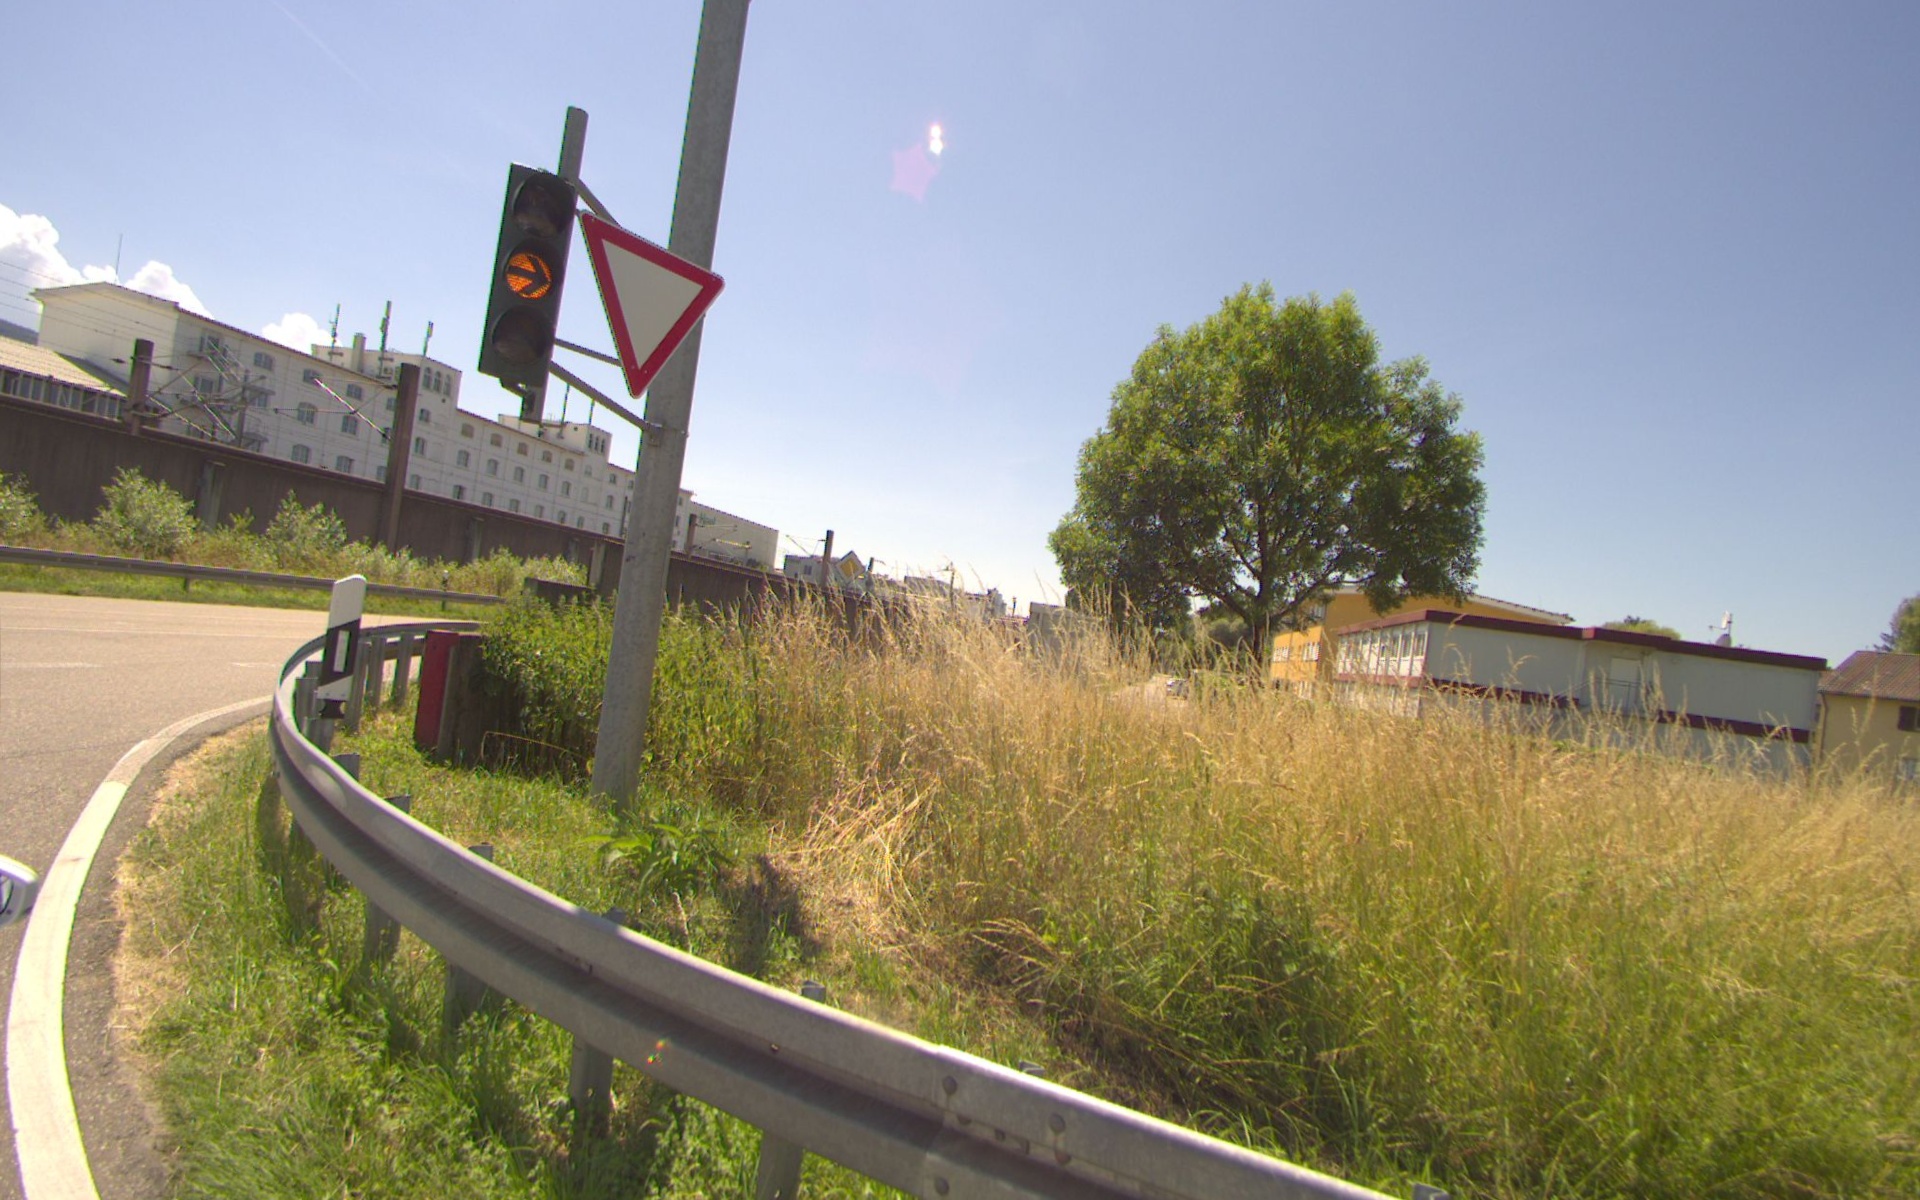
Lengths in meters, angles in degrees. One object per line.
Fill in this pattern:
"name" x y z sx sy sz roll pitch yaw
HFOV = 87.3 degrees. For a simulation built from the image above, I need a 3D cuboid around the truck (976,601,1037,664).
"truck" 3.848 2.738 79.496 2.948 4.227 11.827 6 -3 10
